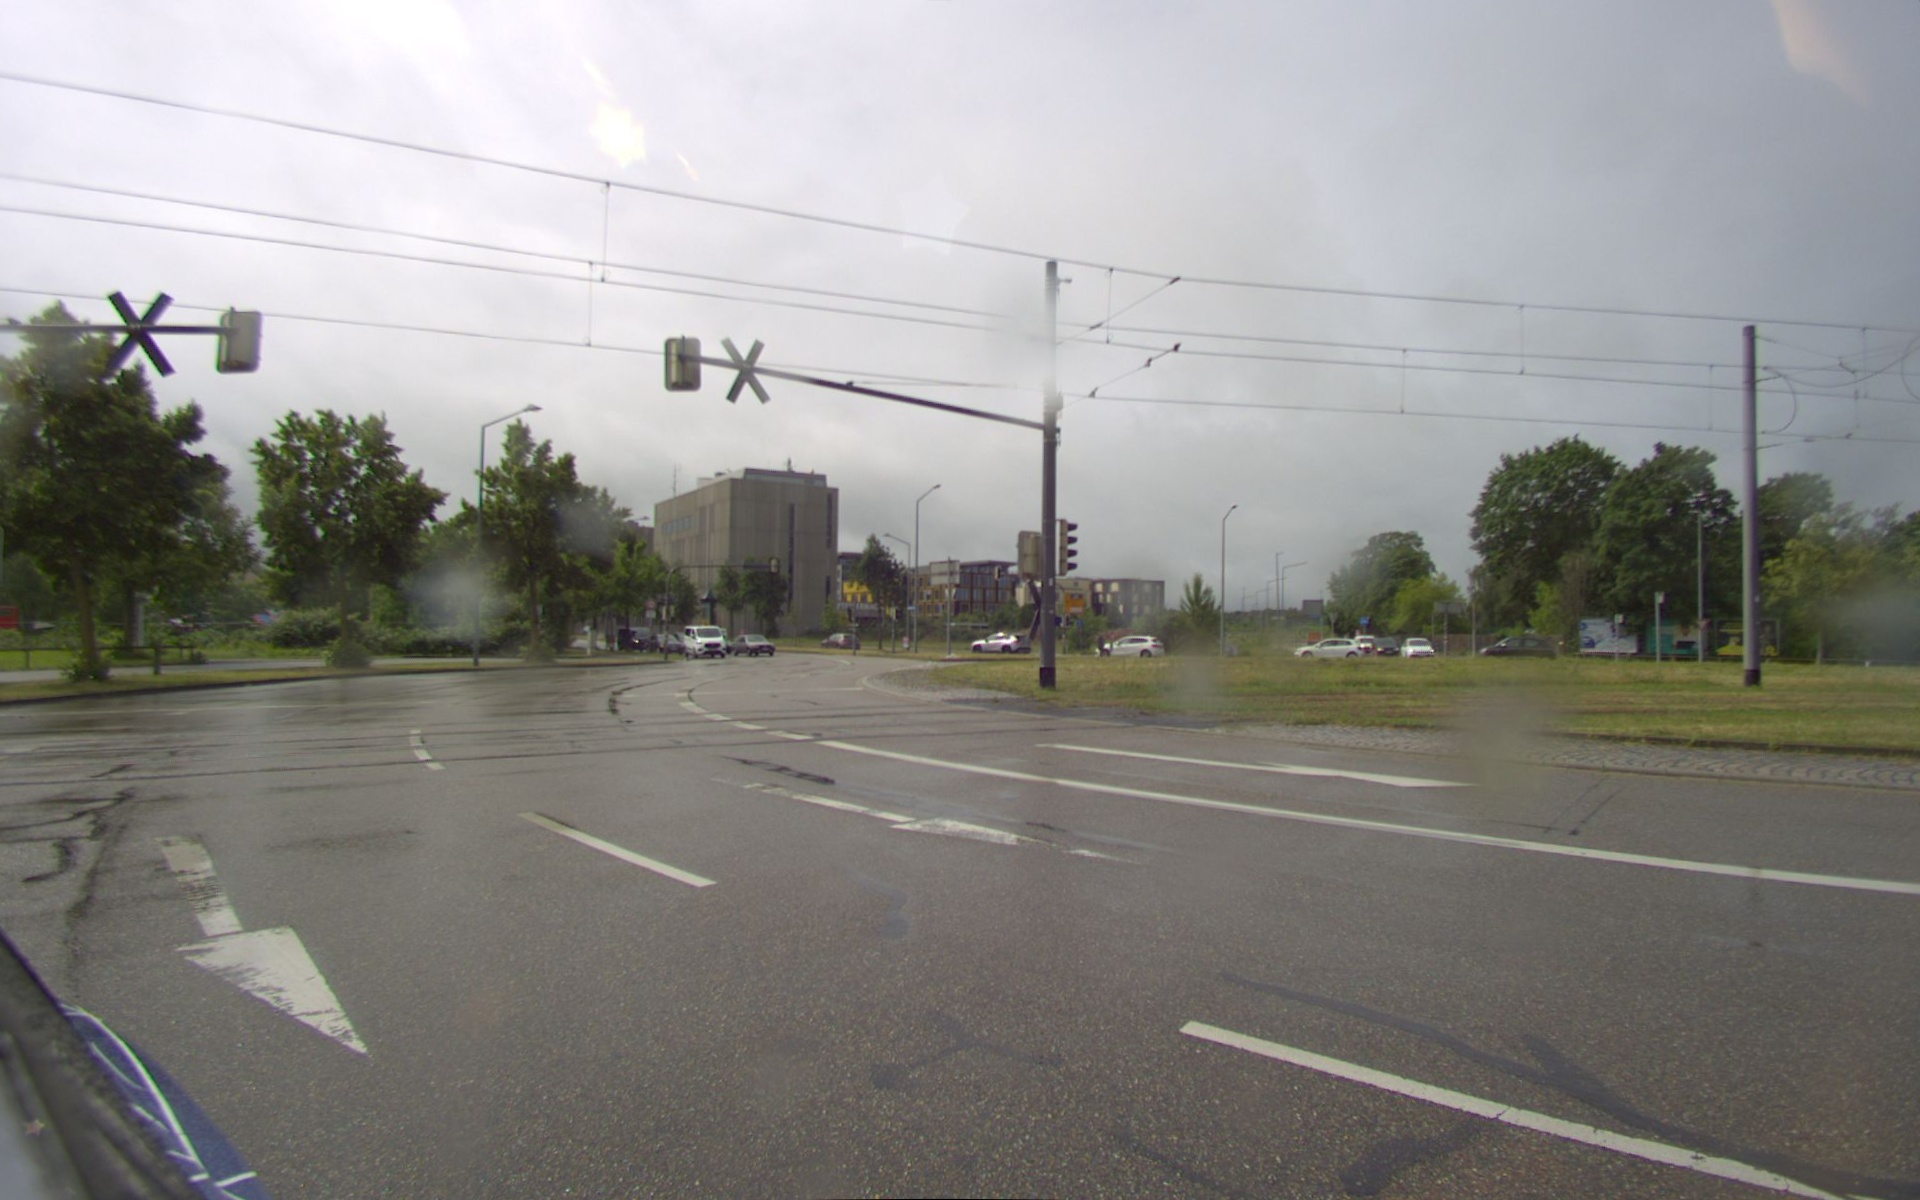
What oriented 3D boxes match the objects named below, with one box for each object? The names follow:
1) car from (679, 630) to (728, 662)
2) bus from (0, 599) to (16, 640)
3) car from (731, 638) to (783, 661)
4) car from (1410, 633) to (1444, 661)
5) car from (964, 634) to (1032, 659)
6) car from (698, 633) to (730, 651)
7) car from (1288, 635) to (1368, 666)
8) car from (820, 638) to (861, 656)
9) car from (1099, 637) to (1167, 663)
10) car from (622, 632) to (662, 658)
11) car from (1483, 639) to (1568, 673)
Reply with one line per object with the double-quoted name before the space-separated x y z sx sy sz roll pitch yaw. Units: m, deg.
"car" -16.580 2.960 65.191 2.042 2.003 4.815 2 -3 -26
"bus" -87.607 1.680 85.936 10.814 3.486 2.003 1 -3 -41
"car" -13.491 3.250 67.077 1.836 1.391 4.564 0 -2 -32
"car" 31.656 3.178 68.743 1.863 1.829 3.970 0 -2 22
"car" 2.612 3.228 70.093 4.476 1.676 1.852 -2 -4 38
"car" -25.782 4.422 105.920 1.836 1.776 4.564 2 -4 -32
"car" 22.596 3.095 62.291 4.432 1.685 1.856 1 -2 17
"car" -9.540 3.764 80.632 1.706 1.424 4.140 2 -4 -30
"car" 10.770 3.098 63.098 3.882 1.519 1.712 0 -3 26
"car" -25.490 3.613 80.934 2.043 2.003 4.814 2 -3 -30
"car" 29.376 2.890 52.660 3.805 1.685 1.848 -1 -2 29
